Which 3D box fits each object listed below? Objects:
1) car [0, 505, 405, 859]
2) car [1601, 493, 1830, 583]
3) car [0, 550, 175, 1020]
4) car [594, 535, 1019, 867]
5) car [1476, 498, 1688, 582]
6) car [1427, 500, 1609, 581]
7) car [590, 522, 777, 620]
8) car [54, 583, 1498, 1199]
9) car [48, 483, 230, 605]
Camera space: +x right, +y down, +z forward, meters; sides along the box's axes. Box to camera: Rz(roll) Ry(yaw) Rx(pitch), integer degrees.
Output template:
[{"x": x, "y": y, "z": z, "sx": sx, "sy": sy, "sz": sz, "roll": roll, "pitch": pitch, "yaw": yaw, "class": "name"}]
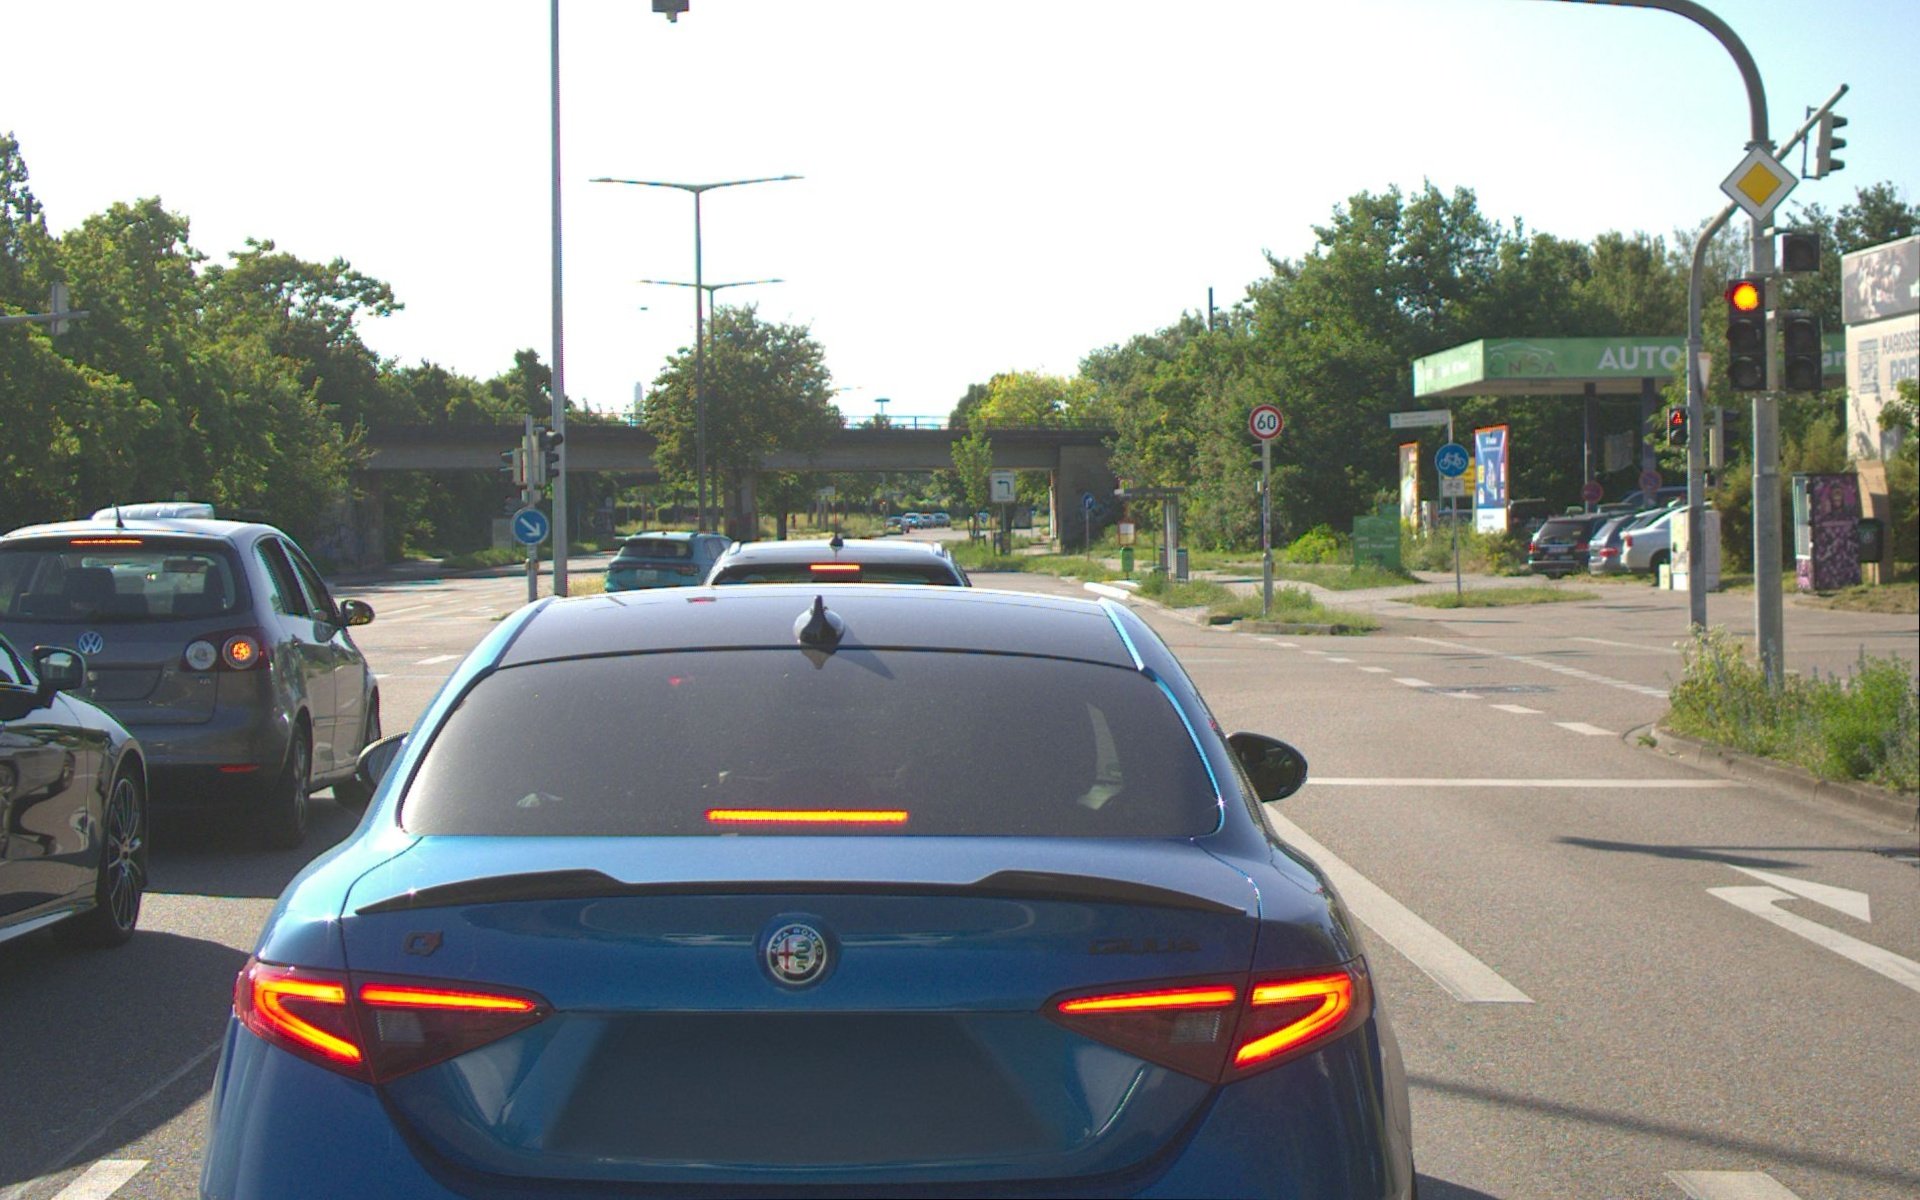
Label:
[{"x": -3.954, "y": 0.330, "z": 17.514, "sx": 1.648, "sy": 1.593, "sz": 3.932, "roll": 0, "pitch": 1, "yaw": -1, "class": "car"}, {"x": 14.518, "y": -1.195, "z": 66.105, "sx": 3.986, "sy": 1.700, "sz": 1.696, "roll": -1, "pitch": 1, "yaw": -16, "class": "car"}, {"x": -3.805, "y": 0.569, "z": 10.640, "sx": 1.768, "sy": 1.409, "sz": 4.461, "roll": 0, "pitch": 1, "yaw": -1, "class": "car"}, {"x": -0.698, "y": 0.410, "z": 17.078, "sx": 1.866, "sy": 1.445, "sz": 3.932, "roll": 0, "pitch": 1, "yaw": -1, "class": "car"}, {"x": 12.828, "y": -1.249, "z": 70.961, "sx": 3.986, "sy": 1.700, "sz": 1.696, "roll": -1, "pitch": 1, "yaw": -19, "class": "car"}, {"x": 12.028, "y": -1.286, "z": 74.152, "sx": 3.483, "sy": 1.700, "sz": 1.696, "roll": -1, "pitch": 1, "yaw": -16, "class": "car"}, {"x": -4.602, "y": -0.514, "z": 57.795, "sx": 1.820, "sy": 1.589, "sz": 4.047, "roll": 0, "pitch": 1, "yaw": 16, "class": "car"}, {"x": -0.261, "y": 0.694, "z": 6.421, "sx": 1.866, "sy": 1.380, "sz": 3.932, "roll": 0, "pitch": 1, "yaw": -1, "class": "car"}, {"x": -17.049, "y": -1.193, "z": 71.718, "sx": 2.431, "sy": 2.418, "sz": 5.831, "roll": 0, "pitch": 1, "yaw": -1, "class": "car"}]
